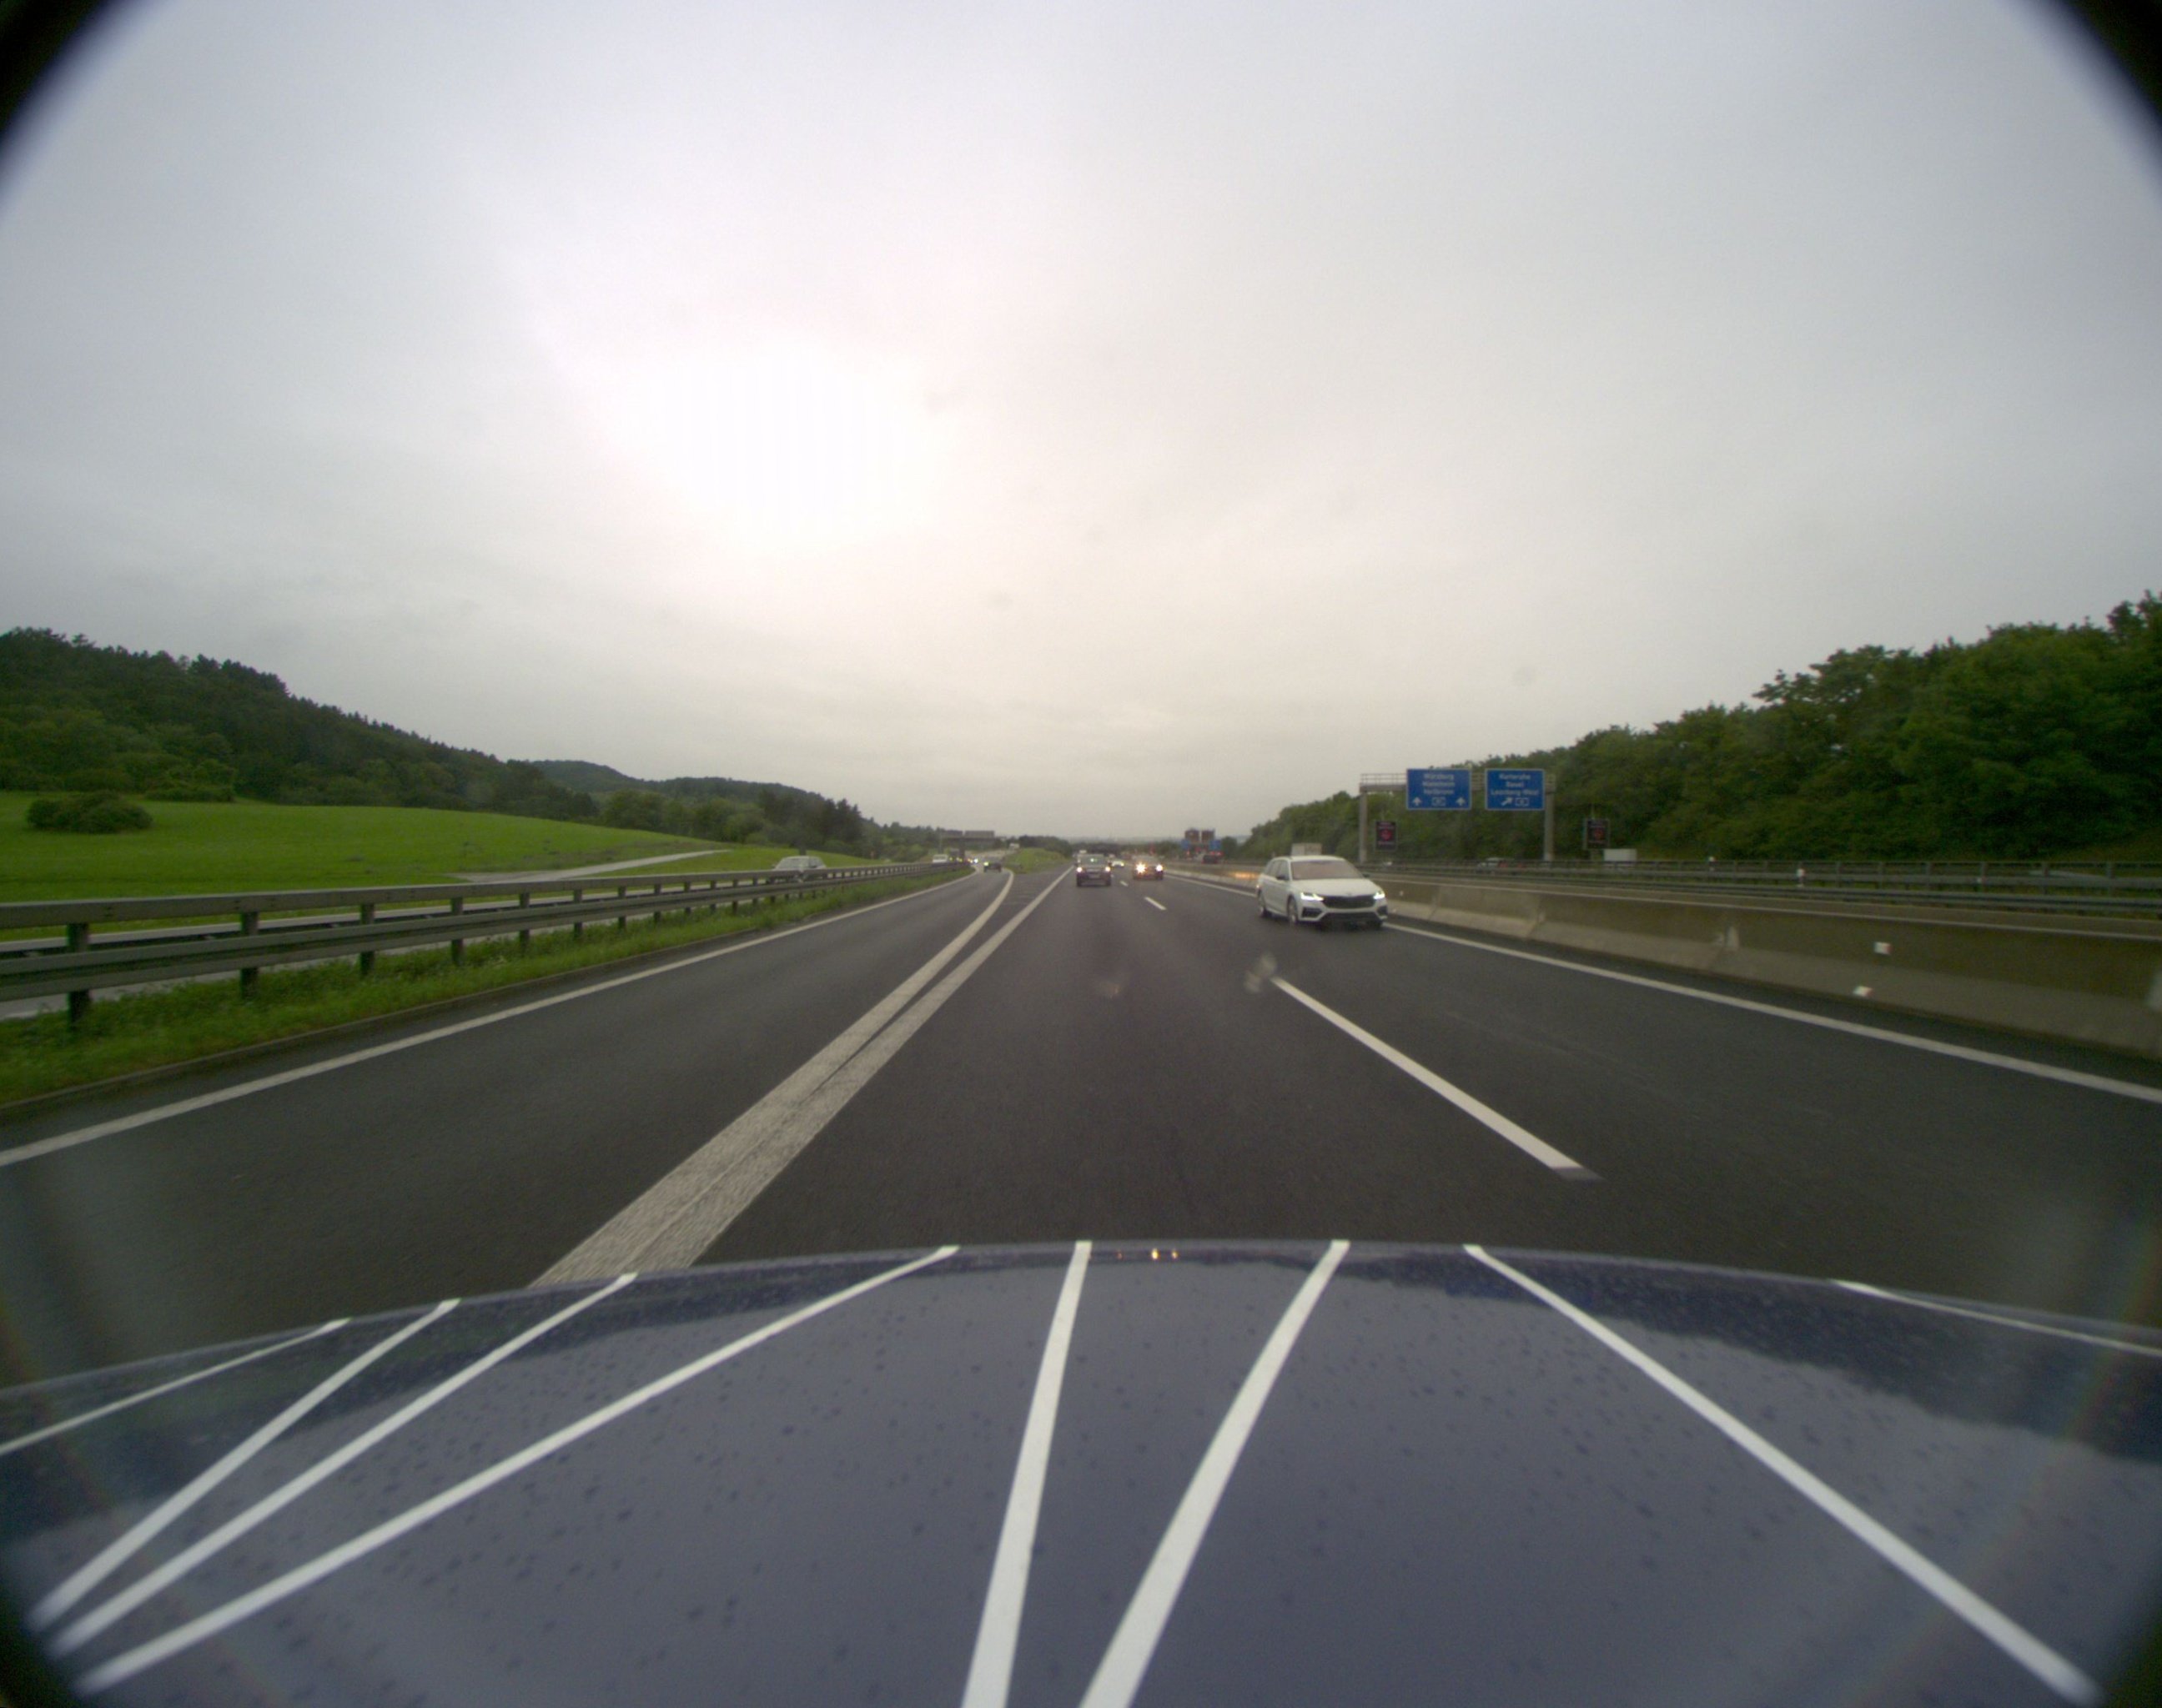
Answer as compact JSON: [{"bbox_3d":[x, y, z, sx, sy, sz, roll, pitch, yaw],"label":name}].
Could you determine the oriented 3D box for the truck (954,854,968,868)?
[{"bbox_3d":[-35.440,2.162,224.213,2.799,3.878,10.024,-2,1,-3],"label":"truck"}]

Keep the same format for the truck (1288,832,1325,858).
[{"bbox_3d":[36.012,-1.401,121.640,3.082,3.856,9.634,-2,1,1],"label":"truck"}]

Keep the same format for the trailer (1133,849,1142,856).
[{"bbox_3d":[18.801,-0.457,252.193,2.582,2.327,7.946,-2,1,1],"label":"trailer"}]

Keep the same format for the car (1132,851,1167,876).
[{"bbox_3d":[4.362,0.589,48.932,1.726,1.481,4.566,-2,1,-1],"label":"car"}]

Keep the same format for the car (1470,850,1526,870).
[{"bbox_3d":[32.745,0.461,59.783,1.823,1.484,4.474,-2,1,-1],"label":"car"}]

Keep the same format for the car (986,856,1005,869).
[{"bbox_3d":[-9.451,0.886,83.926,1.868,1.349,4.563,-2,1,-8],"label":"car"}]

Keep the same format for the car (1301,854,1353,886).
[{"bbox_3d":[16.988,1.057,52.781,1.998,2.002,4.982,-2,1,0],"label":"car"}]

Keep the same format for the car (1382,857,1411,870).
[{"bbox_3d":[36.323,1.082,87.691,1.680,1.448,3.999,-2,1,0],"label":"car"}]

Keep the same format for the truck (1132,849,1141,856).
[{"bbox_3d":[18.896,-0.530,259.749,2.582,2.327,7.341,-2,1,1],"label":"truck"}]

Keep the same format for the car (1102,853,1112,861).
[{"bbox_3d":[5.015,0.516,148.040,1.726,1.481,4.566,-2,1,-1],"label":"car"}]

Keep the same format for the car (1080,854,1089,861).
[{"bbox_3d":[0.727,0.705,171.600,1.919,1.481,4.566,-2,1,-1],"label":"car"}]

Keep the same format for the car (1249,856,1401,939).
[{"bbox_3d":[5.080,0.815,16.562,1.823,1.448,4.777,-2,1,1],"label":"car"}]

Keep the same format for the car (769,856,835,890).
[{"bbox_3d":[-12.518,0.824,34.386,1.671,1.375,4.124,-2,1,-4],"label":"car"}]

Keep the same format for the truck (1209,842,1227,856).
[{"bbox_3d":[33.564,-1.177,186.446,2.858,3.202,9.078,-2,1,1],"label":"truck"}]

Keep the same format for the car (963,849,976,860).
[{"bbox_3d":[-21.270,0.057,145.163,2.131,2.002,5.074,-2,1,-6],"label":"car"}]

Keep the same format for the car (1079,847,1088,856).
[{"bbox_3d":[0.594,-0.567,177.348,2.016,1.994,4.566,-2,1,-1],"label":"car"}]

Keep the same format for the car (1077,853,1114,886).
[{"bbox_3d":[0.791,0.760,39.941,1.813,1.571,3.835,-2,1,1],"label":"car"}]

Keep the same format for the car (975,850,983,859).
[{"bbox_3d":[-25.060,0.131,186.741,1.829,2.012,3.997,-2,1,-7],"label":"car"}]

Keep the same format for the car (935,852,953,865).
[{"bbox_3d":[-17.820,0.550,99.188,1.915,1.684,4.716,-2,1,-5],"label":"car"}]

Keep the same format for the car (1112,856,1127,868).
[{"bbox_3d":[5.233,1.082,103.535,1.726,1.481,4.566,-2,1,-1],"label":"car"}]

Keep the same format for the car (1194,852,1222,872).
[{"bbox_3d":[13.108,0.802,78.682,1.998,2.002,4.982,-2,1,0],"label":"car"}]
